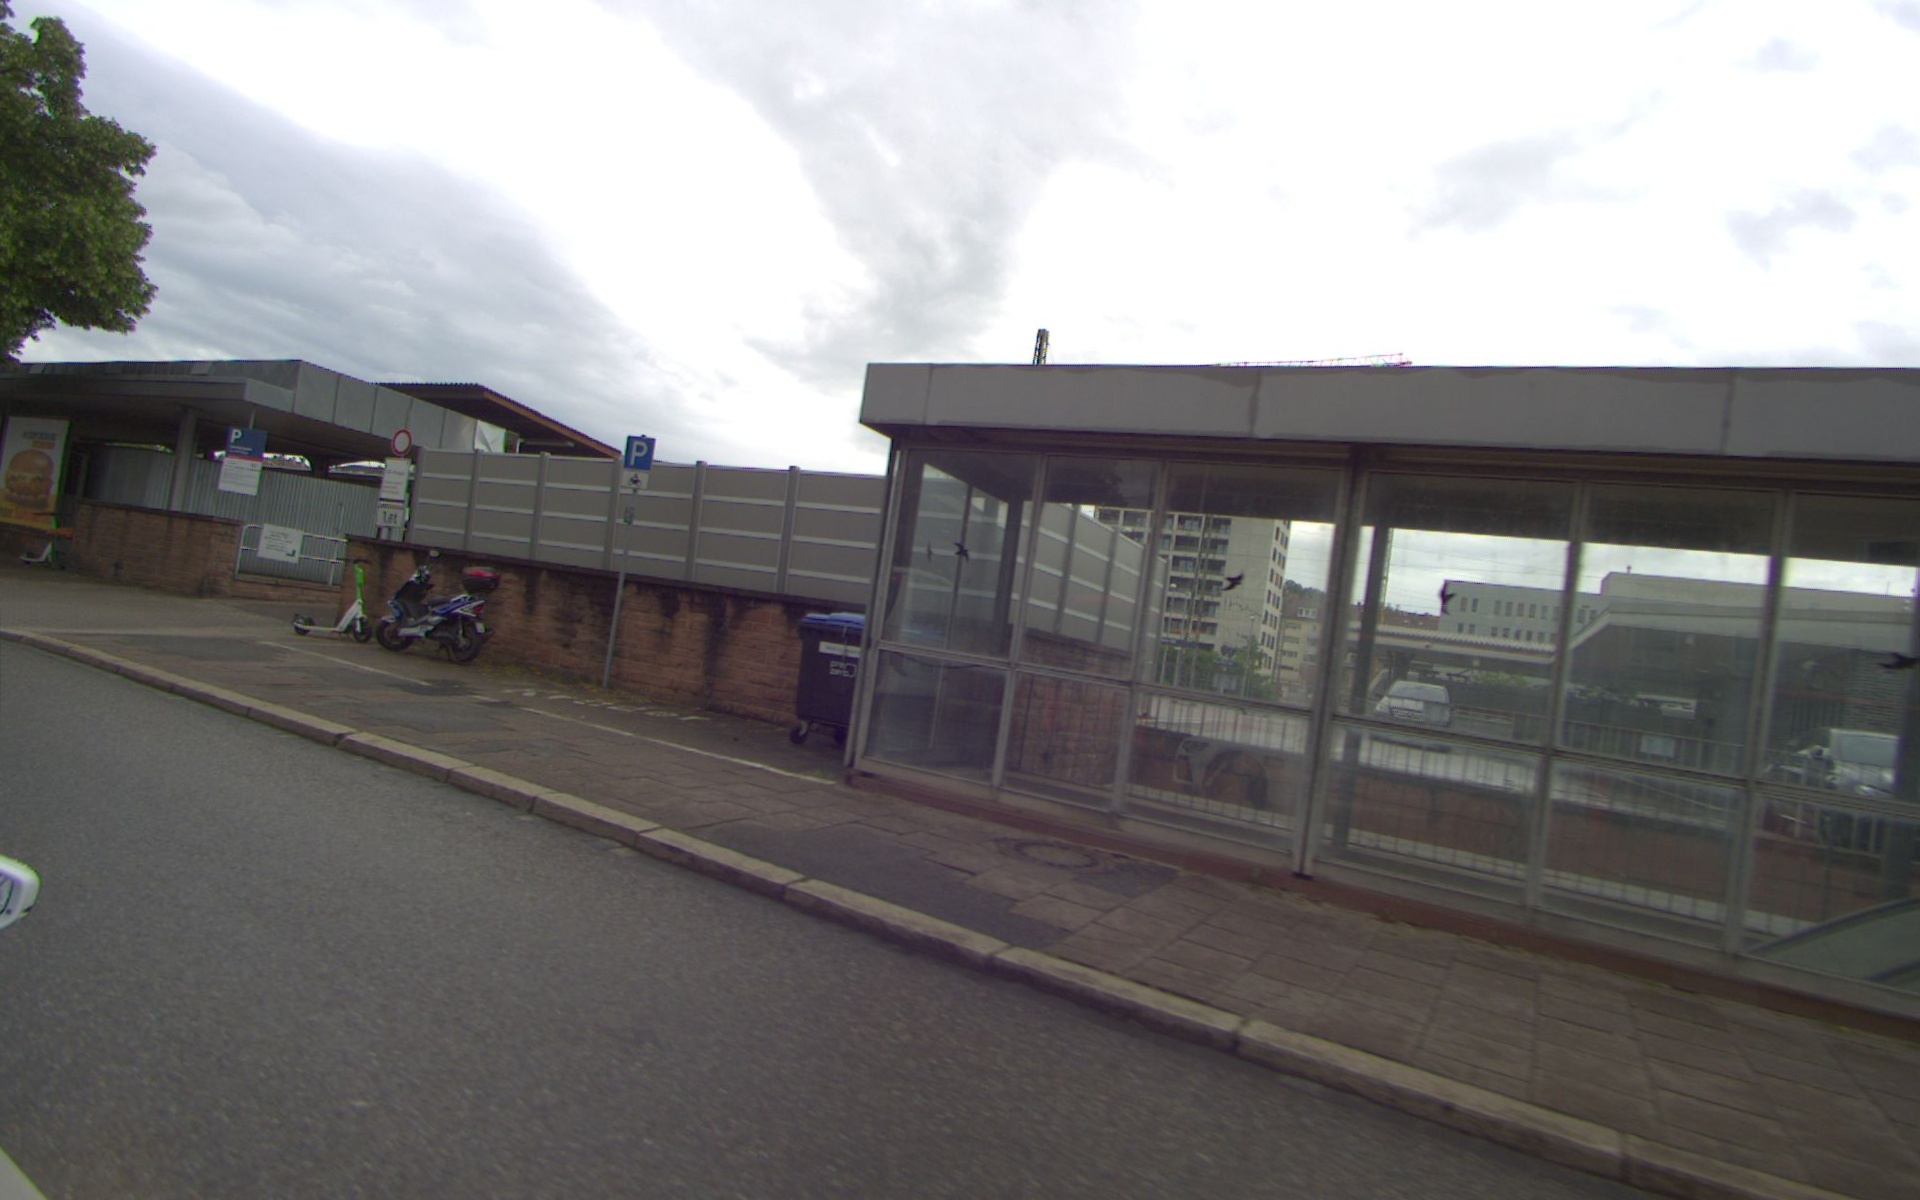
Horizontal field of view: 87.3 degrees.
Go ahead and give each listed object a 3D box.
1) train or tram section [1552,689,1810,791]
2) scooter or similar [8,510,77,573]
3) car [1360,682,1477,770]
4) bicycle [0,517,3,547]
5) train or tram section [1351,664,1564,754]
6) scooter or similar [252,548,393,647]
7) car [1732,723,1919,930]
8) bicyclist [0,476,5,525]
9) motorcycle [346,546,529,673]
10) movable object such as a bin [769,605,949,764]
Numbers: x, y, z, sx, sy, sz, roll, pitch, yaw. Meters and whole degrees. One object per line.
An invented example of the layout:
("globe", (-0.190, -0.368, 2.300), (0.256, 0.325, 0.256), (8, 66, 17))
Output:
("train or tram section", (38.505, 7.403, 54.383), (10.739, 3.645, 2.747), (7, -1, 27))
("scooter or similar", (-19.416, -1.240, 21.282), (1.518, 1.166, 0.494), (6, -1, 28))
("car", (12.601, 3.408, 27.490), (2.075, 1.896, 4.692), (7, -2, 33))
("bicycle", (-17.158, -0.981, 17.315), (1.648, 1.029, 0.447), (7, 1, 29))
("train or tram section", (29.097, 6.317, 59.334), (10.740, 3.645, 2.747), (7, -2, 28))
("scooter or similar", (-8.977, -0.031, 14.180), (1.682, 1.166, 0.495), (7, -1, 11))
("car", (11.183, 2.629, 11.997), (2.072, 1.896, 4.698), (7, -2, 27))
("bicyclist", (-17.051, -1.409, 17.356), (0.682, 1.557, 0.534), (7, 1, 28))
("motorcycle", (-6.912, 0.111, 13.263), (2.415, 1.363, 0.793), (7, -1, 28))
("movable object such as a bin", (-1.003, 0.835, 10.137), (1.295, 1.354, 1.036), (7, -1, 29))
